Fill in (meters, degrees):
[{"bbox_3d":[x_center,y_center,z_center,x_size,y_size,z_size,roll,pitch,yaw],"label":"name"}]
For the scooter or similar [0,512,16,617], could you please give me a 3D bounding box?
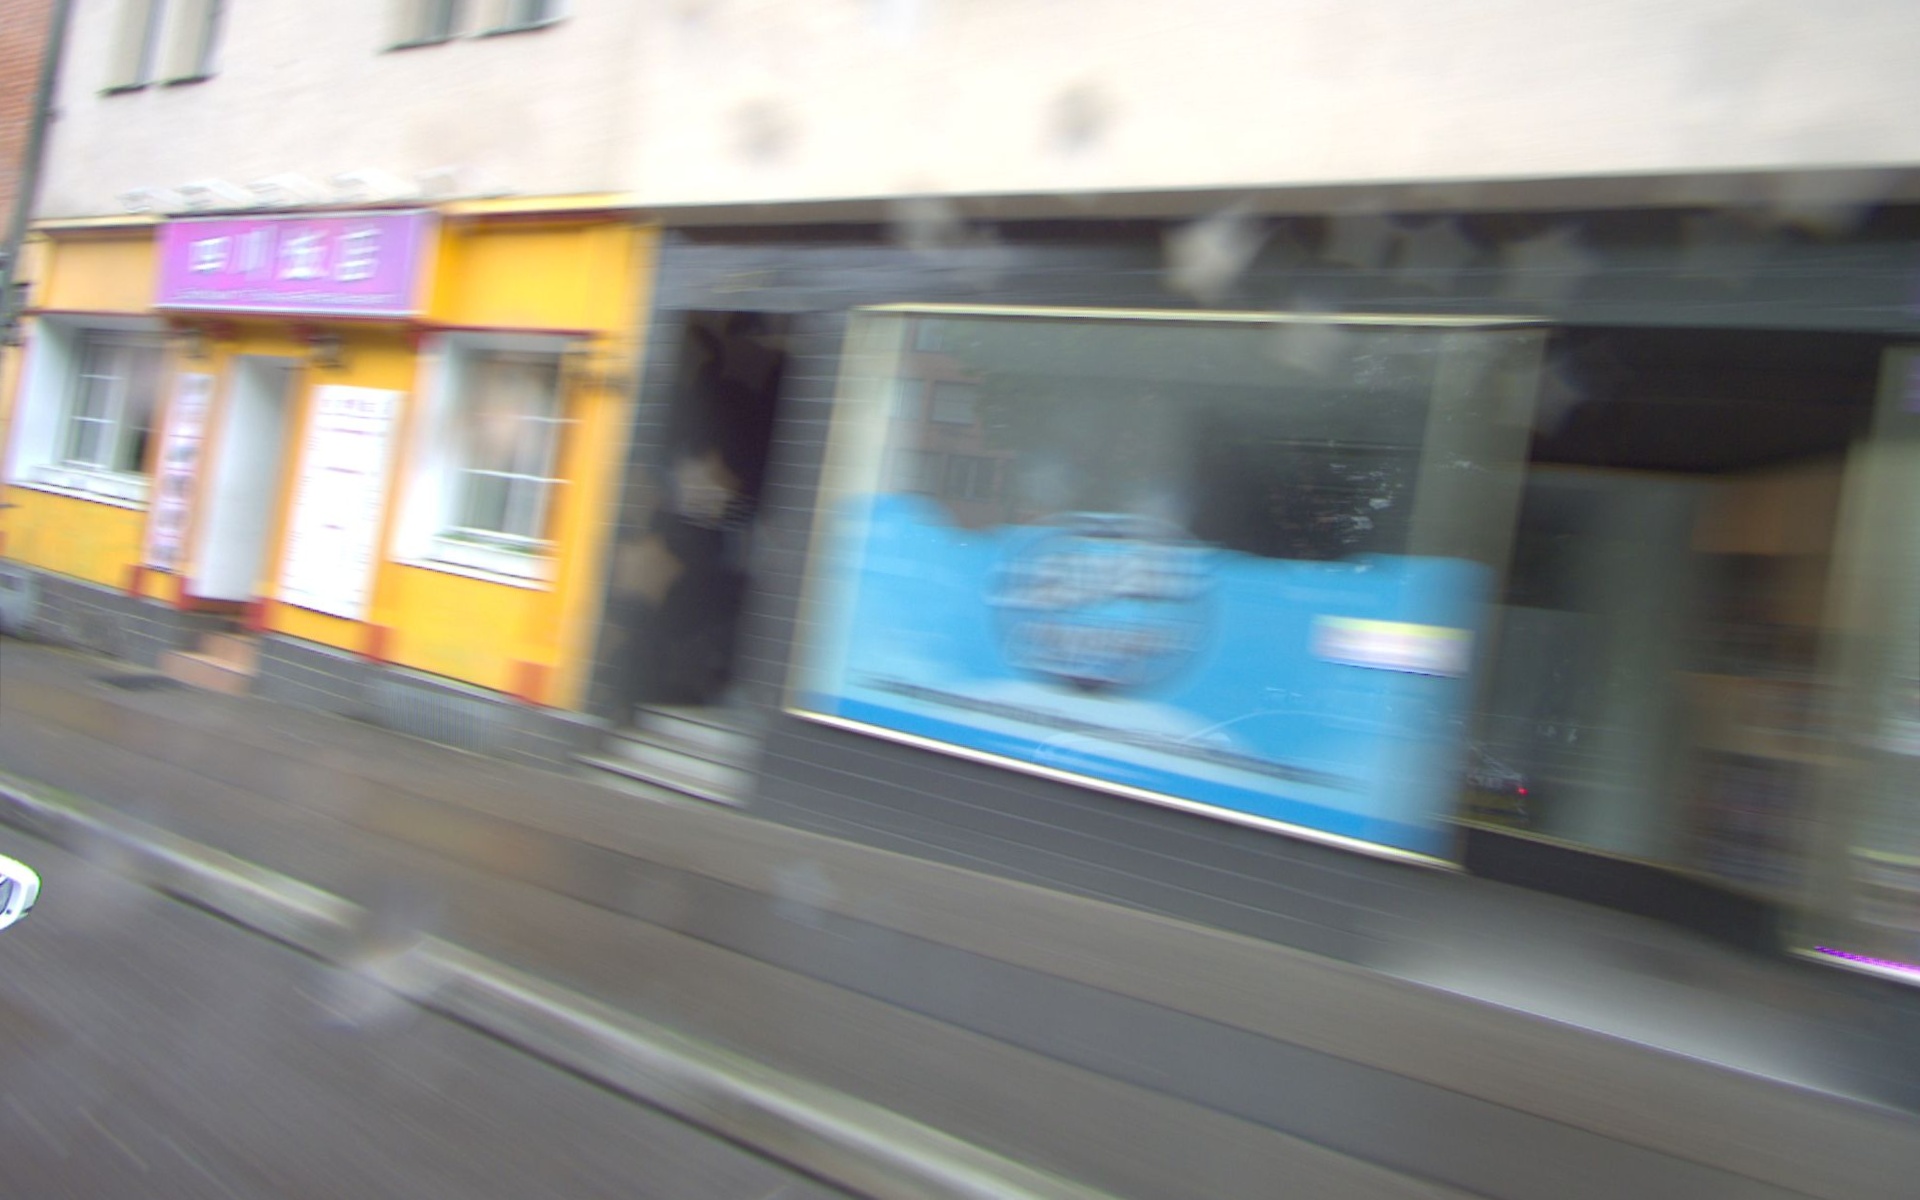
[{"bbox_3d":[-9.416,-0.254,9.588,1.176,1.235,0.258,7,-2,36],"label":"scooter or similar"}]
